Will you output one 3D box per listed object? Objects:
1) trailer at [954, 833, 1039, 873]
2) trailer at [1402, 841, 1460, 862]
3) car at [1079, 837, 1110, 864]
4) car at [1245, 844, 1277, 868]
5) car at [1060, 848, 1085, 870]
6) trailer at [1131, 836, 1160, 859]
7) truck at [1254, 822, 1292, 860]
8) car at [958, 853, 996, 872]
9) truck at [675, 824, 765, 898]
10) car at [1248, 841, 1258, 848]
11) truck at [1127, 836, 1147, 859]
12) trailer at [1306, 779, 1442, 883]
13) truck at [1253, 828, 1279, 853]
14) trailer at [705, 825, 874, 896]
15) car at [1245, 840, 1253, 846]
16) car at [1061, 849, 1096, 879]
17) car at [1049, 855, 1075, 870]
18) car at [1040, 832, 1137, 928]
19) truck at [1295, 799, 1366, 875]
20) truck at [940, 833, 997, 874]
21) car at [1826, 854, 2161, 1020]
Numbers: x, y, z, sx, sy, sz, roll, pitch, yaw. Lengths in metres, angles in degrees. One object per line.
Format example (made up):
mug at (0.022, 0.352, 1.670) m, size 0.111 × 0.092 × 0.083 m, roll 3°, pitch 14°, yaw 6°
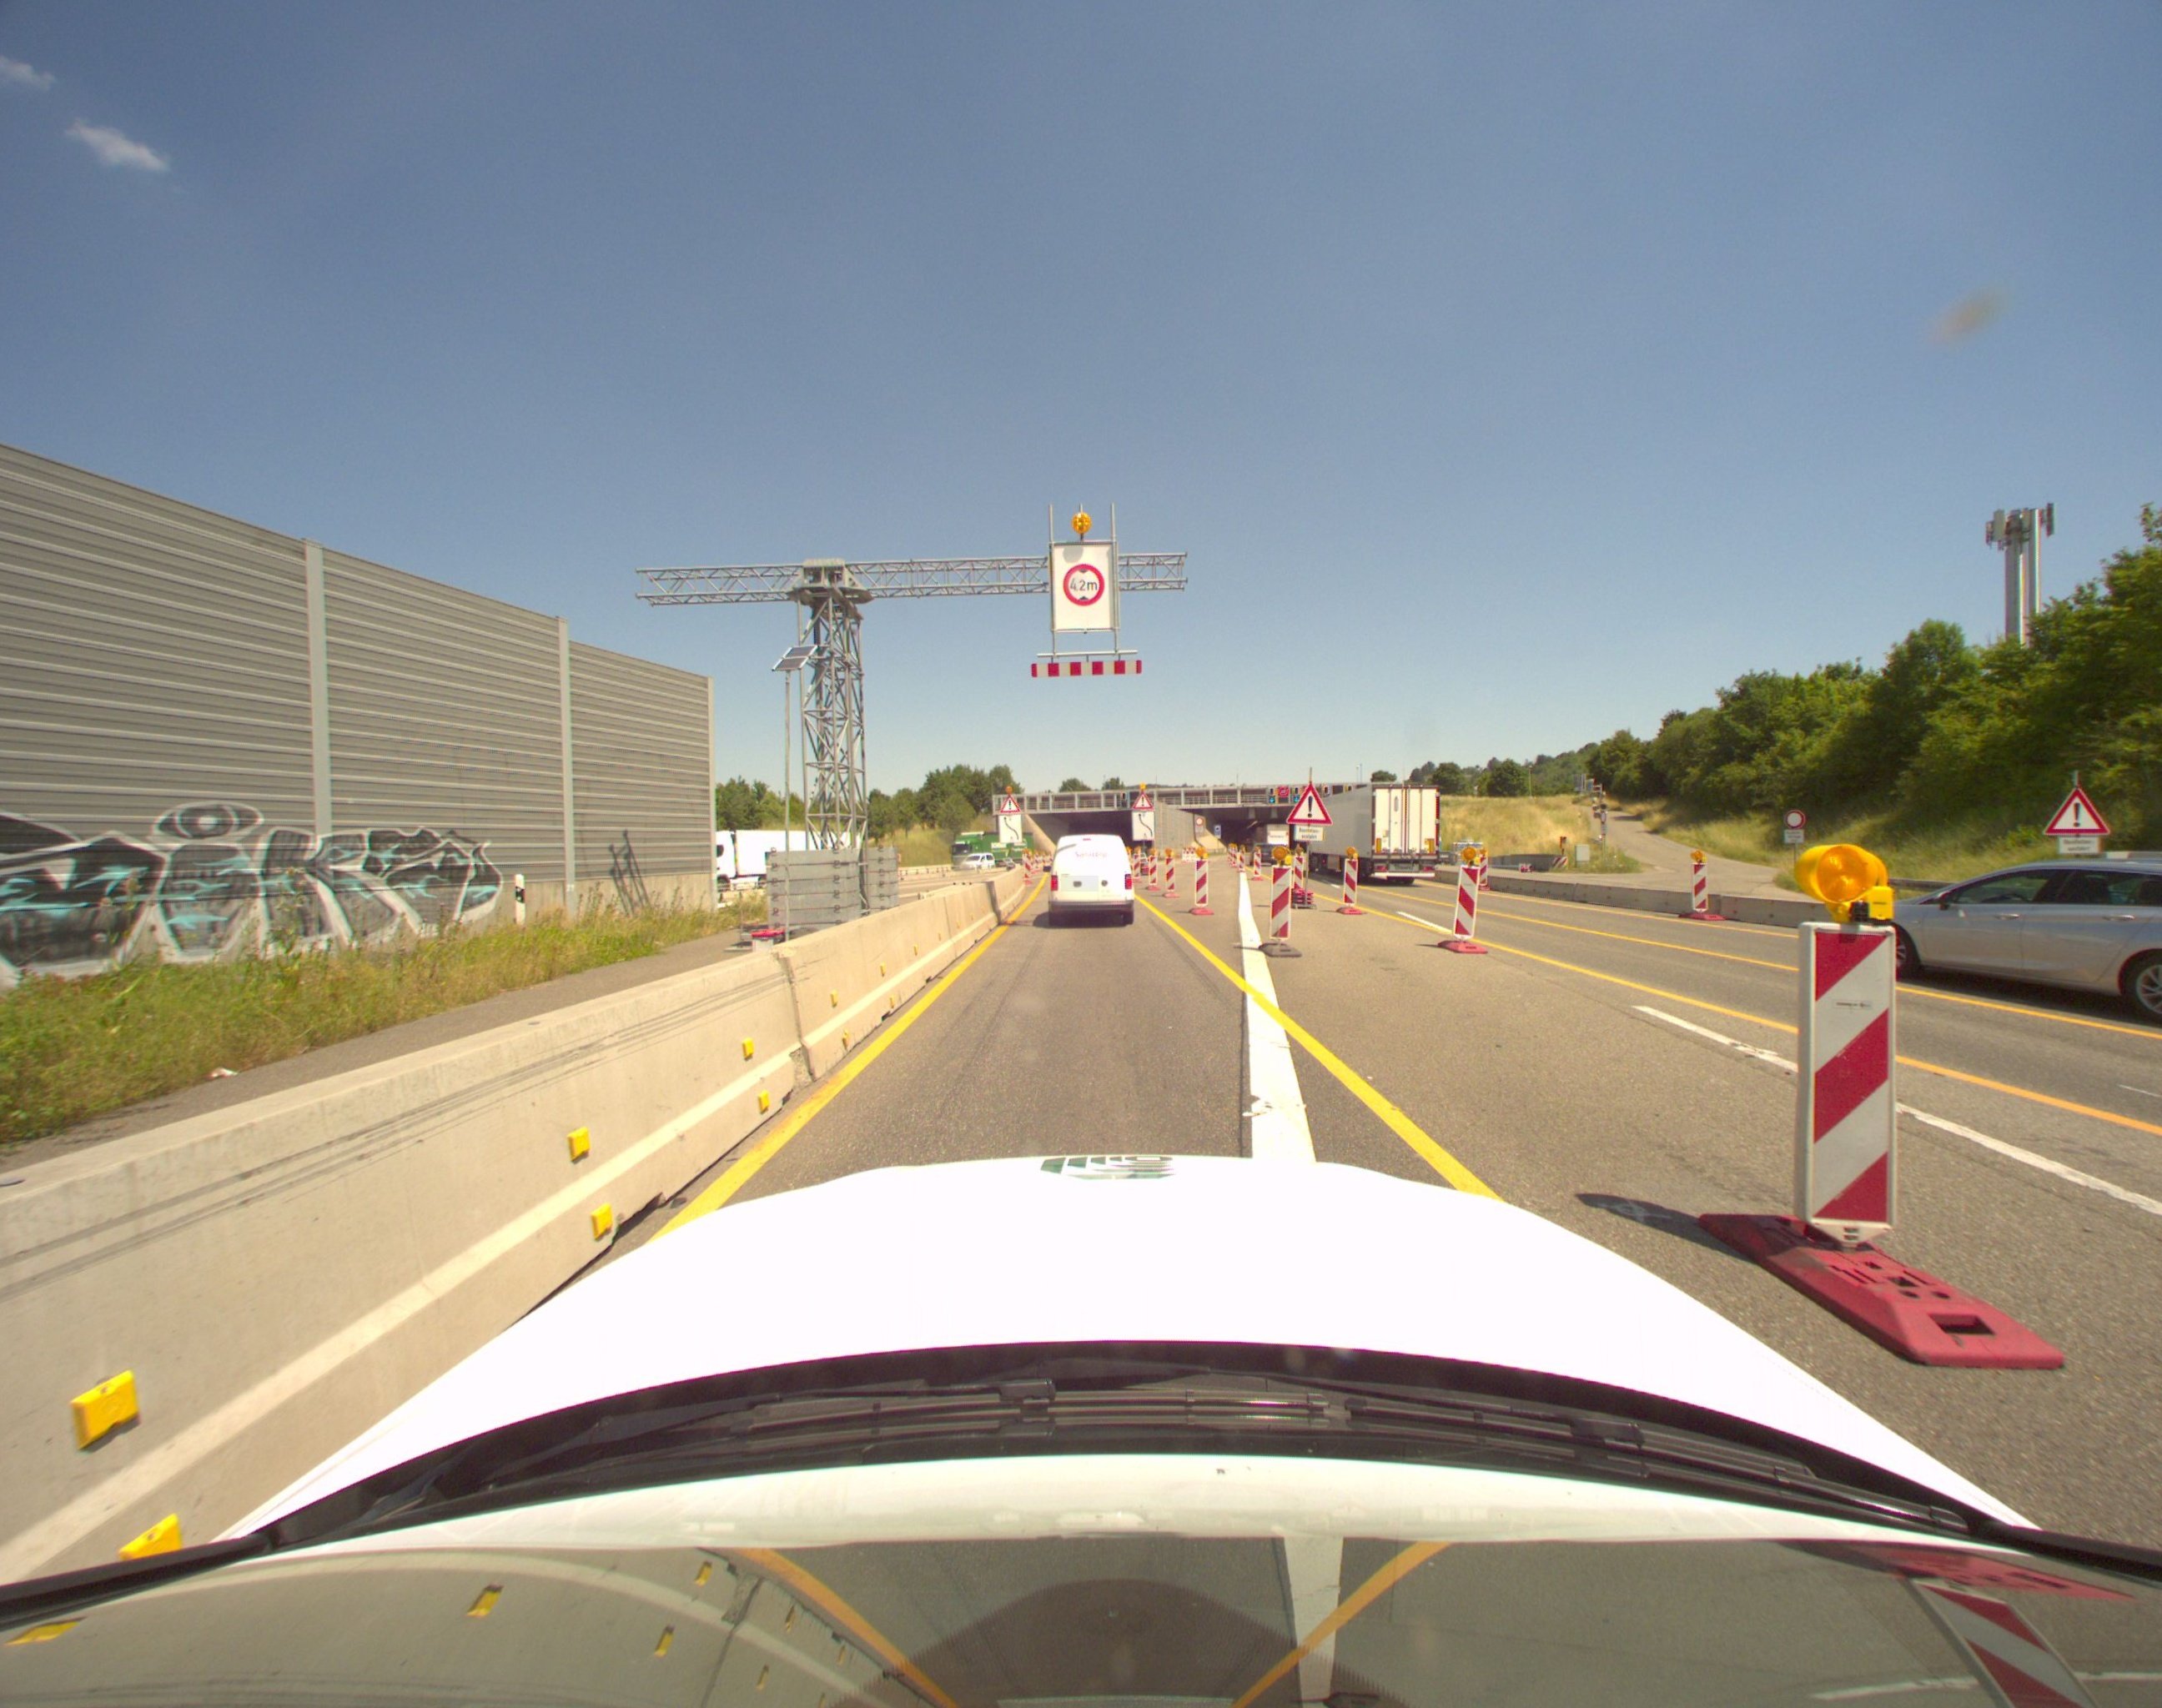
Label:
trailer at (-9.360, -0.104, 93.233) m, size 3.515 × 4.270 × 13.982 m, roll -1°, pitch 0°, yaw 22°
trailer at (29.289, -0.192, 68.413) m, size 2.582 × 1.569 × 6.245 m, roll -3°, pitch 0°, yaw 5°
car at (1.492, -0.303, 86.147) m, size 2.800 × 2.773 × 7.111 m, roll 0°, pitch -1°, yaw 5°
car at (13.010, 0.136, 58.922) m, size 1.806 × 1.630 × 4.197 m, roll 0°, pitch 0°, yaw 6°
car at (-0.715, 0.404, 70.615) m, size 1.801 × 1.815 × 4.413 m, roll -2°, pitch 0°, yaw 3°
trailer at (12.832, -1.295, 160.819) m, size 2.416 × 4.296 × 13.873 m, roll -2°, pitch 0°, yaw 18°
truck at (24.258, -1.450, 103.705) m, size 3.382 × 4.335 × 16.577 m, roll 0°, pitch -1°, yaw 9°
car at (-9.293, 0.756, 73.105) m, size 1.702 × 1.623 × 4.190 m, roll -1°, pitch 0°, yaw 18°
truck at (-23.045, 0.428, 52.255) m, size 2.642 × 4.500 × 4.866 m, roll 0°, pitch 0°, yaw 19°
car at (43.875, -2.354, 208.058) m, size 2.318 × 1.838 × 4.555 m, roll 0°, pitch 0°, yaw 9°
truck at (10.596, -1.217, 153.864) m, size 2.412 × 4.270 × 4.861 m, roll -2°, pitch 0°, yaw 18°
trailer at (13.395, -0.912, 38.894) m, size 2.719 × 4.062 × 14.117 m, roll 0°, pitch 0°, yaw 6°
truck at (32.102, -2.171, 142.161) m, size 3.382 × 4.071 × 16.578 m, roll 0°, pitch 0°, yaw 9°
trailer at (-20.555, 0.359, 59.349) m, size 2.642 × 4.500 × 15.003 m, roll 0°, pitch 0°, yaw 19°
car at (46.726, -2.975, 226.714) m, size 1.804 × 1.630 × 4.201 m, roll 0°, pitch 0°, yaw 9°
car at (-0.187, 0.521, 45.365) m, size 1.804 × 1.537 × 4.406 m, roll -2°, pitch 0°, yaw -2°
car at (-2.193, 0.917, 94.407) m, size 1.702 × 1.623 × 4.190 m, roll -1°, pitch 0°, yaw 18°
car at (0.155, 0.496, 17.584) m, size 1.803 × 1.794 × 3.730 m, roll -2°, pitch 0°, yaw 0°
truck at (14.144, -0.917, 46.578) m, size 2.732 × 4.033 × 5.935 m, roll 0°, pitch 0°, yaw 5°
truck at (-11.919, -0.046, 86.810) m, size 3.515 × 4.270 × 5.810 m, roll -1°, pitch 0°, yaw 22°
car at (10.561, 0.733, 8.367) m, size 1.807 × 1.464 × 4.658 m, roll 0°, pitch 0°, yaw 4°
